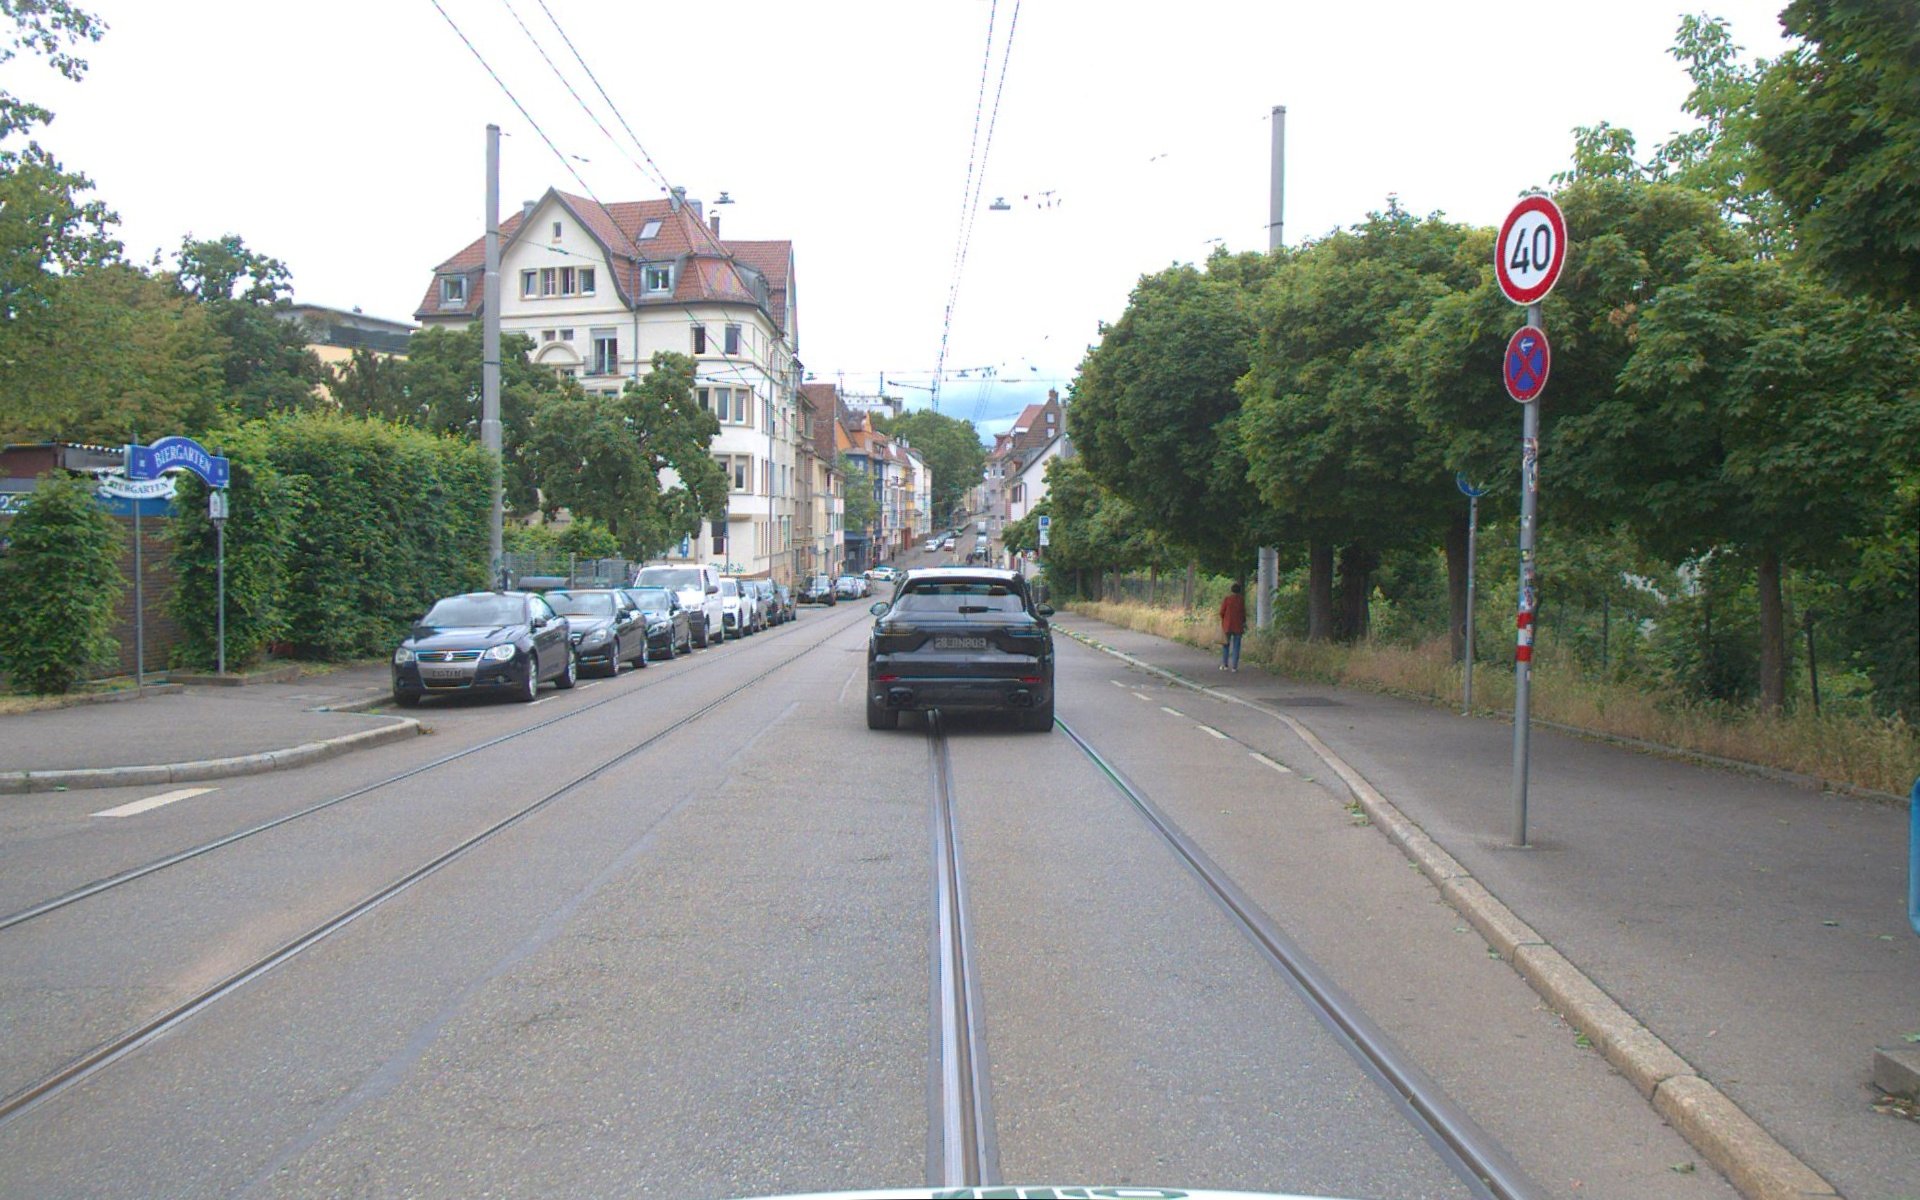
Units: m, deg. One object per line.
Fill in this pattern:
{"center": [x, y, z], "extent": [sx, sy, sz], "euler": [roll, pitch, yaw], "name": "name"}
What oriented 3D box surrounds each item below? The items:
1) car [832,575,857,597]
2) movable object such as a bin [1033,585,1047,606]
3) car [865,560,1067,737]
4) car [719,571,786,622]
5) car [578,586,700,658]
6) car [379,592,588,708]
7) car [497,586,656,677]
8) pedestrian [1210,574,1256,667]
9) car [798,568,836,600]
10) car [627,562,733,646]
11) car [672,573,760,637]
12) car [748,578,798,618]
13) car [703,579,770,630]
{"center": [-7.949, -0.932, 113.904], "extent": [1.588, 1.489, 4.031], "euler": [0, 0, -2], "name": "car"}
{"center": [4.740, -0.268, 98.091], "extent": [0.776, 1.239, 0.788], "euler": [1, 0, -5], "name": "movable object such as a bin"}
{"center": [0.025, 0.463, 18.162], "extent": [1.953, 1.705, 3.999], "euler": [1, 0, -1], "name": "car"}
{"center": [-7.234, -0.115, 58.011], "extent": [1.929, 1.716, 4.442], "euler": [0, 0, -2], "name": "car"}
{"center": [-6.630, 0.437, 34.581], "extent": [1.803, 1.411, 4.516], "euler": [0, 0, -2], "name": "car"}
{"center": [-6.356, 0.627, 22.521], "extent": [1.754, 1.429, 4.160], "euler": [0, 0, -2], "name": "car"}
{"center": [-6.426, 0.504, 28.171], "extent": [1.803, 1.411, 4.438], "euler": [0, 0, -2], "name": "car"}
{"center": [4.928, 0.368, 29.900], "extent": [0.700, 1.649, 0.718], "euler": [1, 0, -1], "name": "pedestrian"}
{"center": [-7.702, -0.838, 89.221], "extent": [1.830, 1.674, 4.400], "euler": [0, 0, -2], "name": "car"}
{"center": [-6.784, 0.103, 40.524], "extent": [1.929, 1.946, 4.733], "euler": [0, 0, -2], "name": "car"}
{"center": [-6.773, 0.148, 46.401], "extent": [1.929, 1.716, 4.631], "euler": [0, 0, -2], "name": "car"}
{"center": [-7.268, -0.071, 64.528], "extent": [1.588, 1.503, 4.154], "euler": [0, 0, -2], "name": "car"}
{"center": [-6.961, 0.148, 51.815], "extent": [1.703, 1.535, 3.868], "euler": [0, 0, -2], "name": "car"}
